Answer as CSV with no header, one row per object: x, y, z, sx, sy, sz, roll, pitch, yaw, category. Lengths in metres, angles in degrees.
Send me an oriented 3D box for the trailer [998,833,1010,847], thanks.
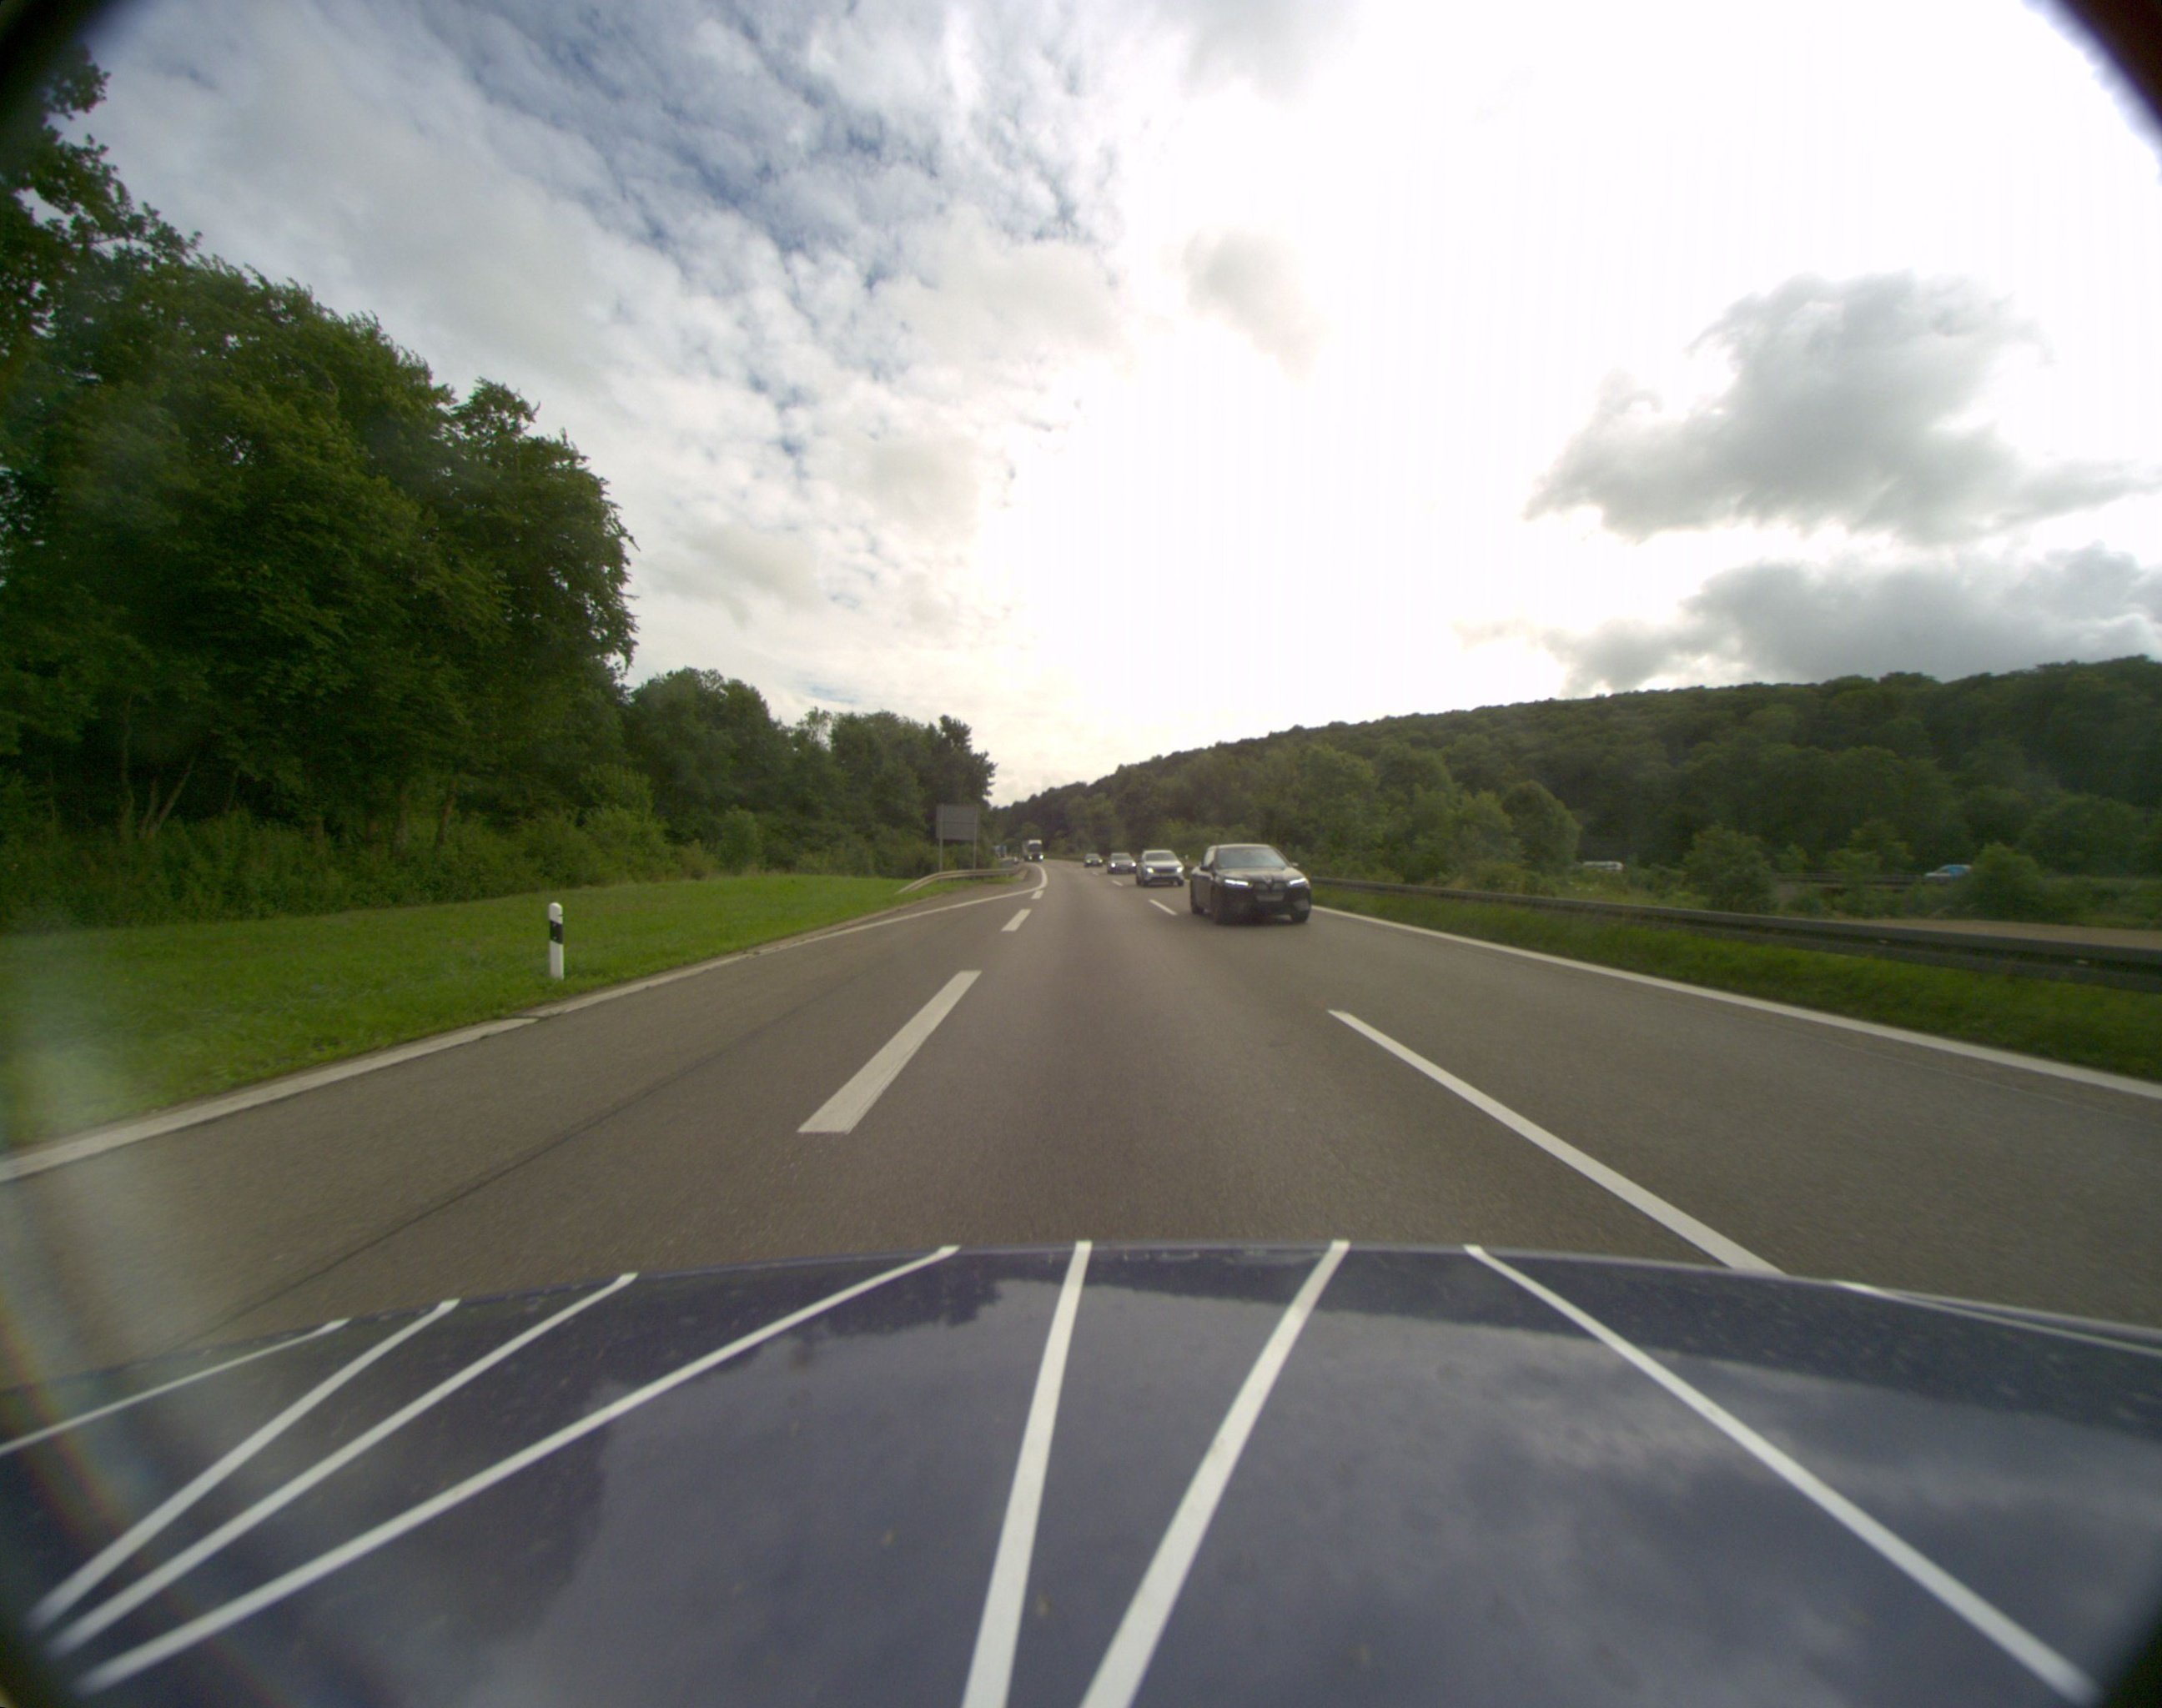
-23.479,-4.263,231.295,2.789,3.932,11.284,-1,1,-10,trailer

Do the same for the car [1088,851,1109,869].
1.892,0.624,81.815,1.999,1.656,4.412,0,2,-2,car

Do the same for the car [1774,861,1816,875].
109.469,2.163,116.456,2.005,1.798,4.444,3,1,-42,car

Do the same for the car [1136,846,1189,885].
3.764,0.478,35.819,1.998,1.656,4.414,-1,1,0,car

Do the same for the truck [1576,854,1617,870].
94.570,1.414,139.372,2.369,2.452,5.714,3,1,-42,truck

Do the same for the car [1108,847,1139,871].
3.106,0.328,56.093,1.999,1.656,4.413,-1,1,-1,car

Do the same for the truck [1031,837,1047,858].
-7.900,-1.247,141.195,2.796,3.949,5.936,-1,1,-5,truck

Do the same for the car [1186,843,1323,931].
3.741,0.622,17.254,1.999,1.656,4.414,-2,1,-1,car
